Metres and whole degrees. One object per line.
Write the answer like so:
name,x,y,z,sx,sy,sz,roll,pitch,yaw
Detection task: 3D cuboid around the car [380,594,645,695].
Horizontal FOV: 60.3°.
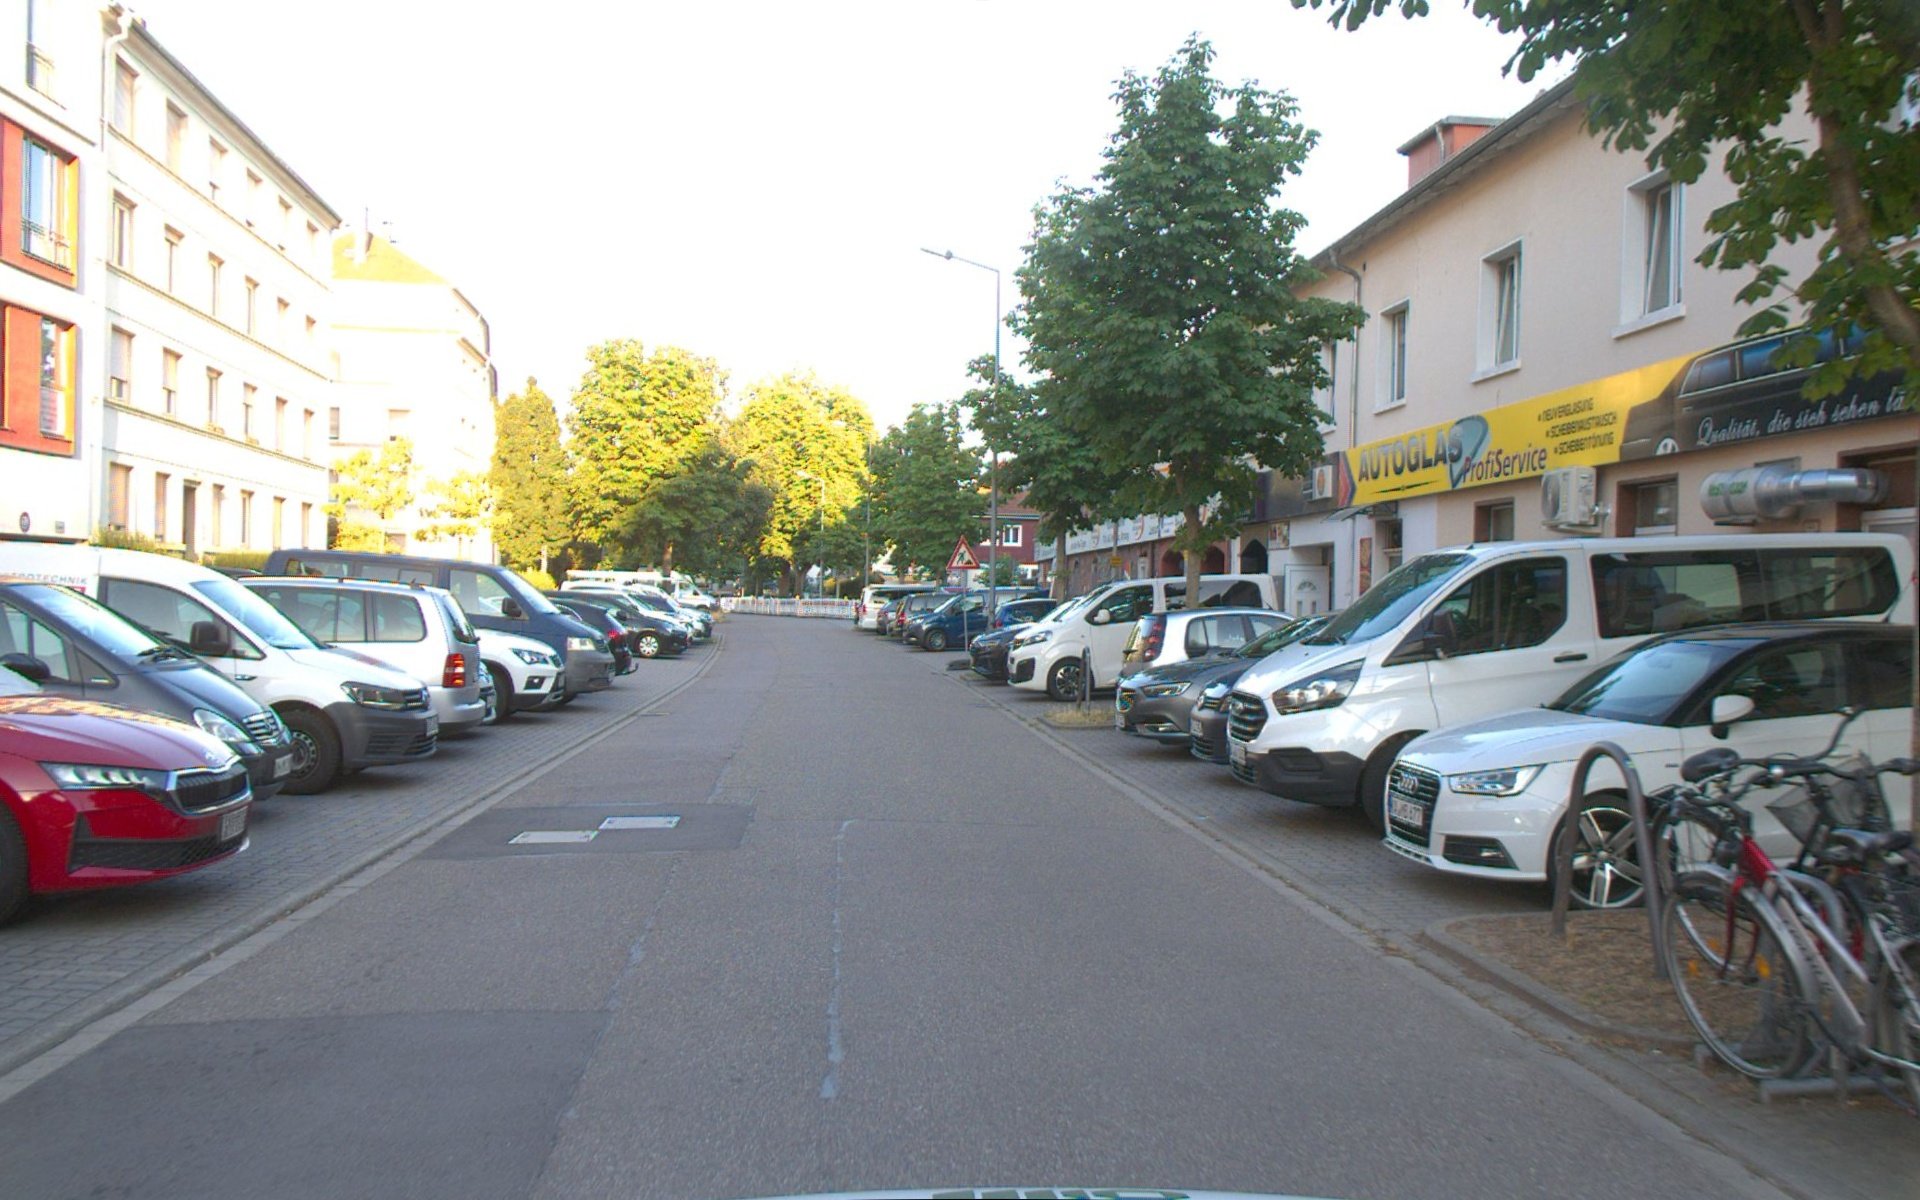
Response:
car,-7.401,0.731,27.717,4.063,1.441,1.734,3,-1,-10

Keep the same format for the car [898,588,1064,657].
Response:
car,0.597,0.643,49.699,4.696,1.784,2.014,-3,1,-8

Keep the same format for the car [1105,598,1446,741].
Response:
car,3.772,0.799,20.108,3.713,1.522,1.678,-2,0,-7

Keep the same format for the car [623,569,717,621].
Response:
car,-15.202,-0.254,86.815,4.640,2.614,1.998,1,0,-6

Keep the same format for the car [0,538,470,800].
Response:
car,-6.243,0.517,13.254,4.096,1.929,1.896,1,0,-5

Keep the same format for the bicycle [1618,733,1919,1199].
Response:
bicycle,2.604,1.030,4.861,0.350,1.119,1.969,1,0,-7

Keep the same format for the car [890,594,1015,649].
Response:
car,-0.271,0.692,55.050,3.912,1.647,1.891,-2,0,-8

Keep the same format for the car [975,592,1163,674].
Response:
car,2.424,0.722,37.320,3.911,1.572,1.842,-3,0,-7

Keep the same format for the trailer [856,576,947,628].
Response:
trailer,-2.645,0.092,74.172,3.911,2.226,1.997,1,0,-8

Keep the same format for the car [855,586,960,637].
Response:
car,-2.083,0.449,64.862,3.912,1.937,1.996,1,0,-8

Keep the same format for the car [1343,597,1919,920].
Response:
car,4.367,0.838,9.308,3.954,1.594,1.720,2,0,-6

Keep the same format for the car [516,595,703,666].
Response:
car,-8.599,0.744,40.879,4.326,1.477,1.824,3,-1,-8

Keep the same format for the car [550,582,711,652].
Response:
car,-9.577,0.486,48.386,4.335,1.833,1.942,3,0,-5

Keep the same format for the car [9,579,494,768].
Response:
car,-6.508,0.640,15.700,3.919,1.616,2.046,0,0,-14

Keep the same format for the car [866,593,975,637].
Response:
car,-1.494,0.552,61.787,3.911,1.536,1.773,1,0,-8

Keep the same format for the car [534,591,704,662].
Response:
car,-8.913,0.674,43.552,4.162,1.649,1.811,3,0,-6

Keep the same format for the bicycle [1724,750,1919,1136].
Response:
bicycle,2.988,1.050,4.886,0.350,1.042,1.969,1,0,-7

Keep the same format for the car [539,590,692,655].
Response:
car,-9.526,0.617,45.986,3.912,1.510,1.753,4,0,-8

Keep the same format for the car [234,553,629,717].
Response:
car,-7.118,0.463,22.706,4.757,2.091,1.999,1,0,-3

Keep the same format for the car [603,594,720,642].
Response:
car,-10.524,0.648,58.521,3.909,1.611,1.727,1,0,-5

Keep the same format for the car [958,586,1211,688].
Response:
car,2.368,0.688,32.249,4.603,1.660,1.998,-3,0,-5

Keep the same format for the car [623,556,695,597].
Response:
car,-19.247,-1.477,105.756,4.426,2.473,1.992,1,0,-15

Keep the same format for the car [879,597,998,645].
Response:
car,-0.754,0.726,57.500,3.875,1.592,1.816,1,0,-11

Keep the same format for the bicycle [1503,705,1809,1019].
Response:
bicycle,2.848,1.017,6.957,0.350,1.042,1.782,1,0,-7

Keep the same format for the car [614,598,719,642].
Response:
car,-10.752,0.716,60.814,3.641,1.532,1.688,1,0,-5

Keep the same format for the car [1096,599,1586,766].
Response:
car,3.917,0.820,17.466,4.631,1.522,1.997,-1,-1,-7

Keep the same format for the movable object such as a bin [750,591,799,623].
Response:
movable object such as a bin,-14.795,0.555,131.491,2.591,2.445,5.164,1,0,-21

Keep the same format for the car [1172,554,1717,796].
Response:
car,4.165,0.614,14.713,4.206,1.891,1.999,-1,0,-3

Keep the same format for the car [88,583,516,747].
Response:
car,-6.950,0.676,17.832,3.910,1.646,1.795,1,0,-6

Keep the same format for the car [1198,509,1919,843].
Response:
car,4.338,0.534,12.029,4.860,2.138,2.150,1,-1,-2

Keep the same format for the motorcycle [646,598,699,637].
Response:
motorcycle,-10.893,0.662,62.712,1.950,1.461,0.719,1,-1,-12

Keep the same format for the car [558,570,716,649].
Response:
car,-9.918,0.267,51.038,4.423,2.106,1.999,4,1,-4

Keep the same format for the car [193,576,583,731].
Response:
car,-6.835,0.636,20.155,4.104,1.753,1.900,1,0,-6

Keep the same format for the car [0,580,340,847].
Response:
car,-6.105,0.670,10.804,3.464,1.590,1.781,2,0,-7

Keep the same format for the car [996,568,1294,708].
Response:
car,2.977,0.593,27.252,4.498,1.894,2.010,-4,0,-5

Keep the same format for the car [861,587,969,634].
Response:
car,-1.864,0.433,67.426,4.219,1.831,1.901,1,0,-8

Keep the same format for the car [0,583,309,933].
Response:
car,-5.585,0.664,7.956,4.179,1.520,1.787,1,0,-5

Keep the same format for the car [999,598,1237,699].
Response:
car,2.772,0.832,29.563,3.909,1.522,1.890,-3,0,-5
